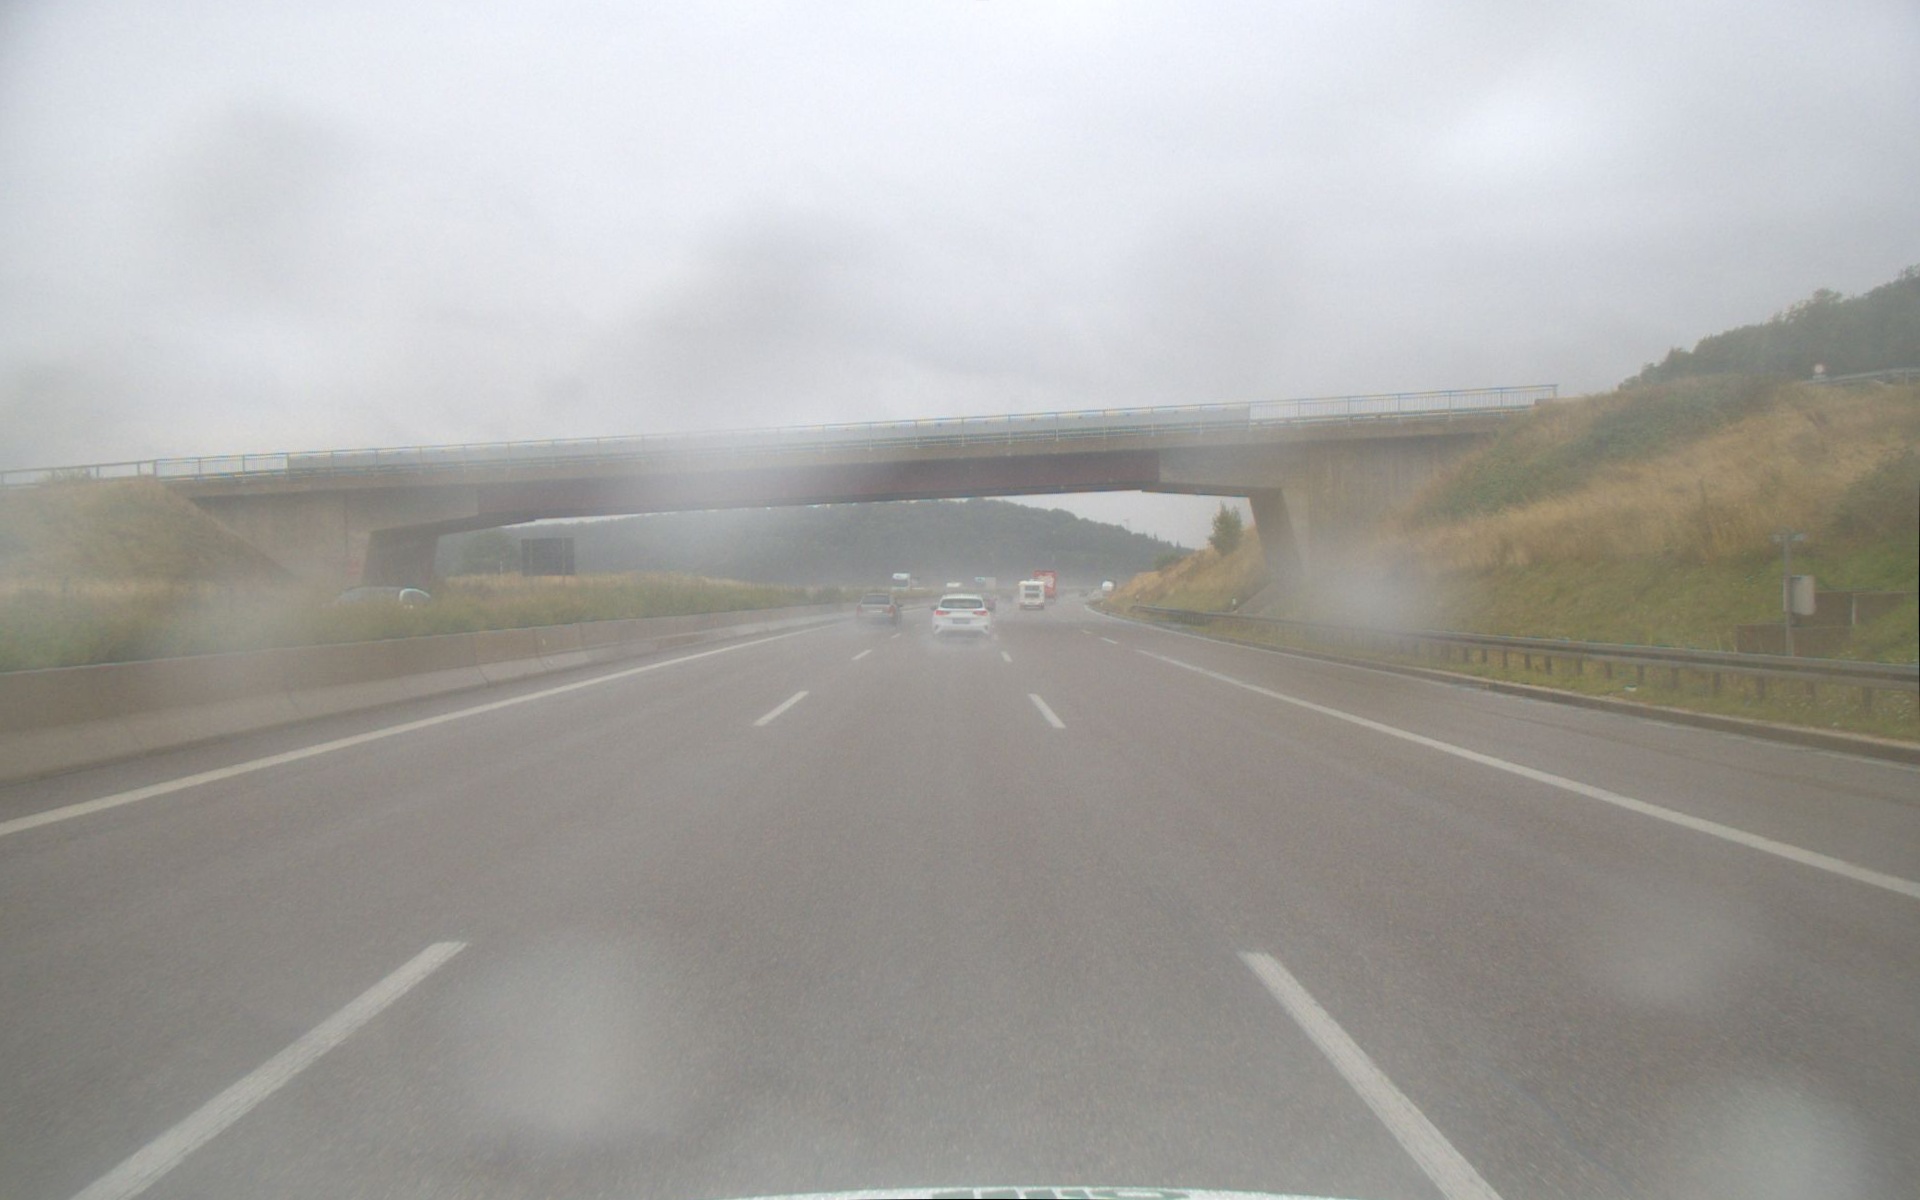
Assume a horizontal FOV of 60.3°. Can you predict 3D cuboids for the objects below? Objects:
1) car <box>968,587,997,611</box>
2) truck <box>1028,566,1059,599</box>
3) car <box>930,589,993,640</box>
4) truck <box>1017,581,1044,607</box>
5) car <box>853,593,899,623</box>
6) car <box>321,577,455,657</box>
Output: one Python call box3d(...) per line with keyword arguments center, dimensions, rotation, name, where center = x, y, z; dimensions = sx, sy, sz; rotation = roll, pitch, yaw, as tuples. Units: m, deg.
box3d(center=(1.611, -0.093, 117.386), dimensions=(1.952, 1.646, 4.001), rotation=(0, 0, 2), name="car")
box3d(center=(10.066, -2.149, 200.211), dimensions=(3.454, 3.808, 11.429), rotation=(1, 1, 2), name="truck")
box3d(center=(0.005, 0.433, 50.690), dimensions=(1.830, 1.488, 3.999), rotation=(1, 0, -1), name="car")
box3d(center=(6.386, -0.511, 149.290), dimensions=(2.357, 2.291, 4.695), rotation=(0, 0, 4), name="truck")
box3d(center=(-3.446, 0.363, 68.309), dimensions=(1.787, 1.177, 4.211), rotation=(1, -1, -2), name="car")
box3d(center=(-12.485, 0.379, 36.350), dimensions=(1.548, 1.646, 3.937), rotation=(1, -1, 0), name="car")
